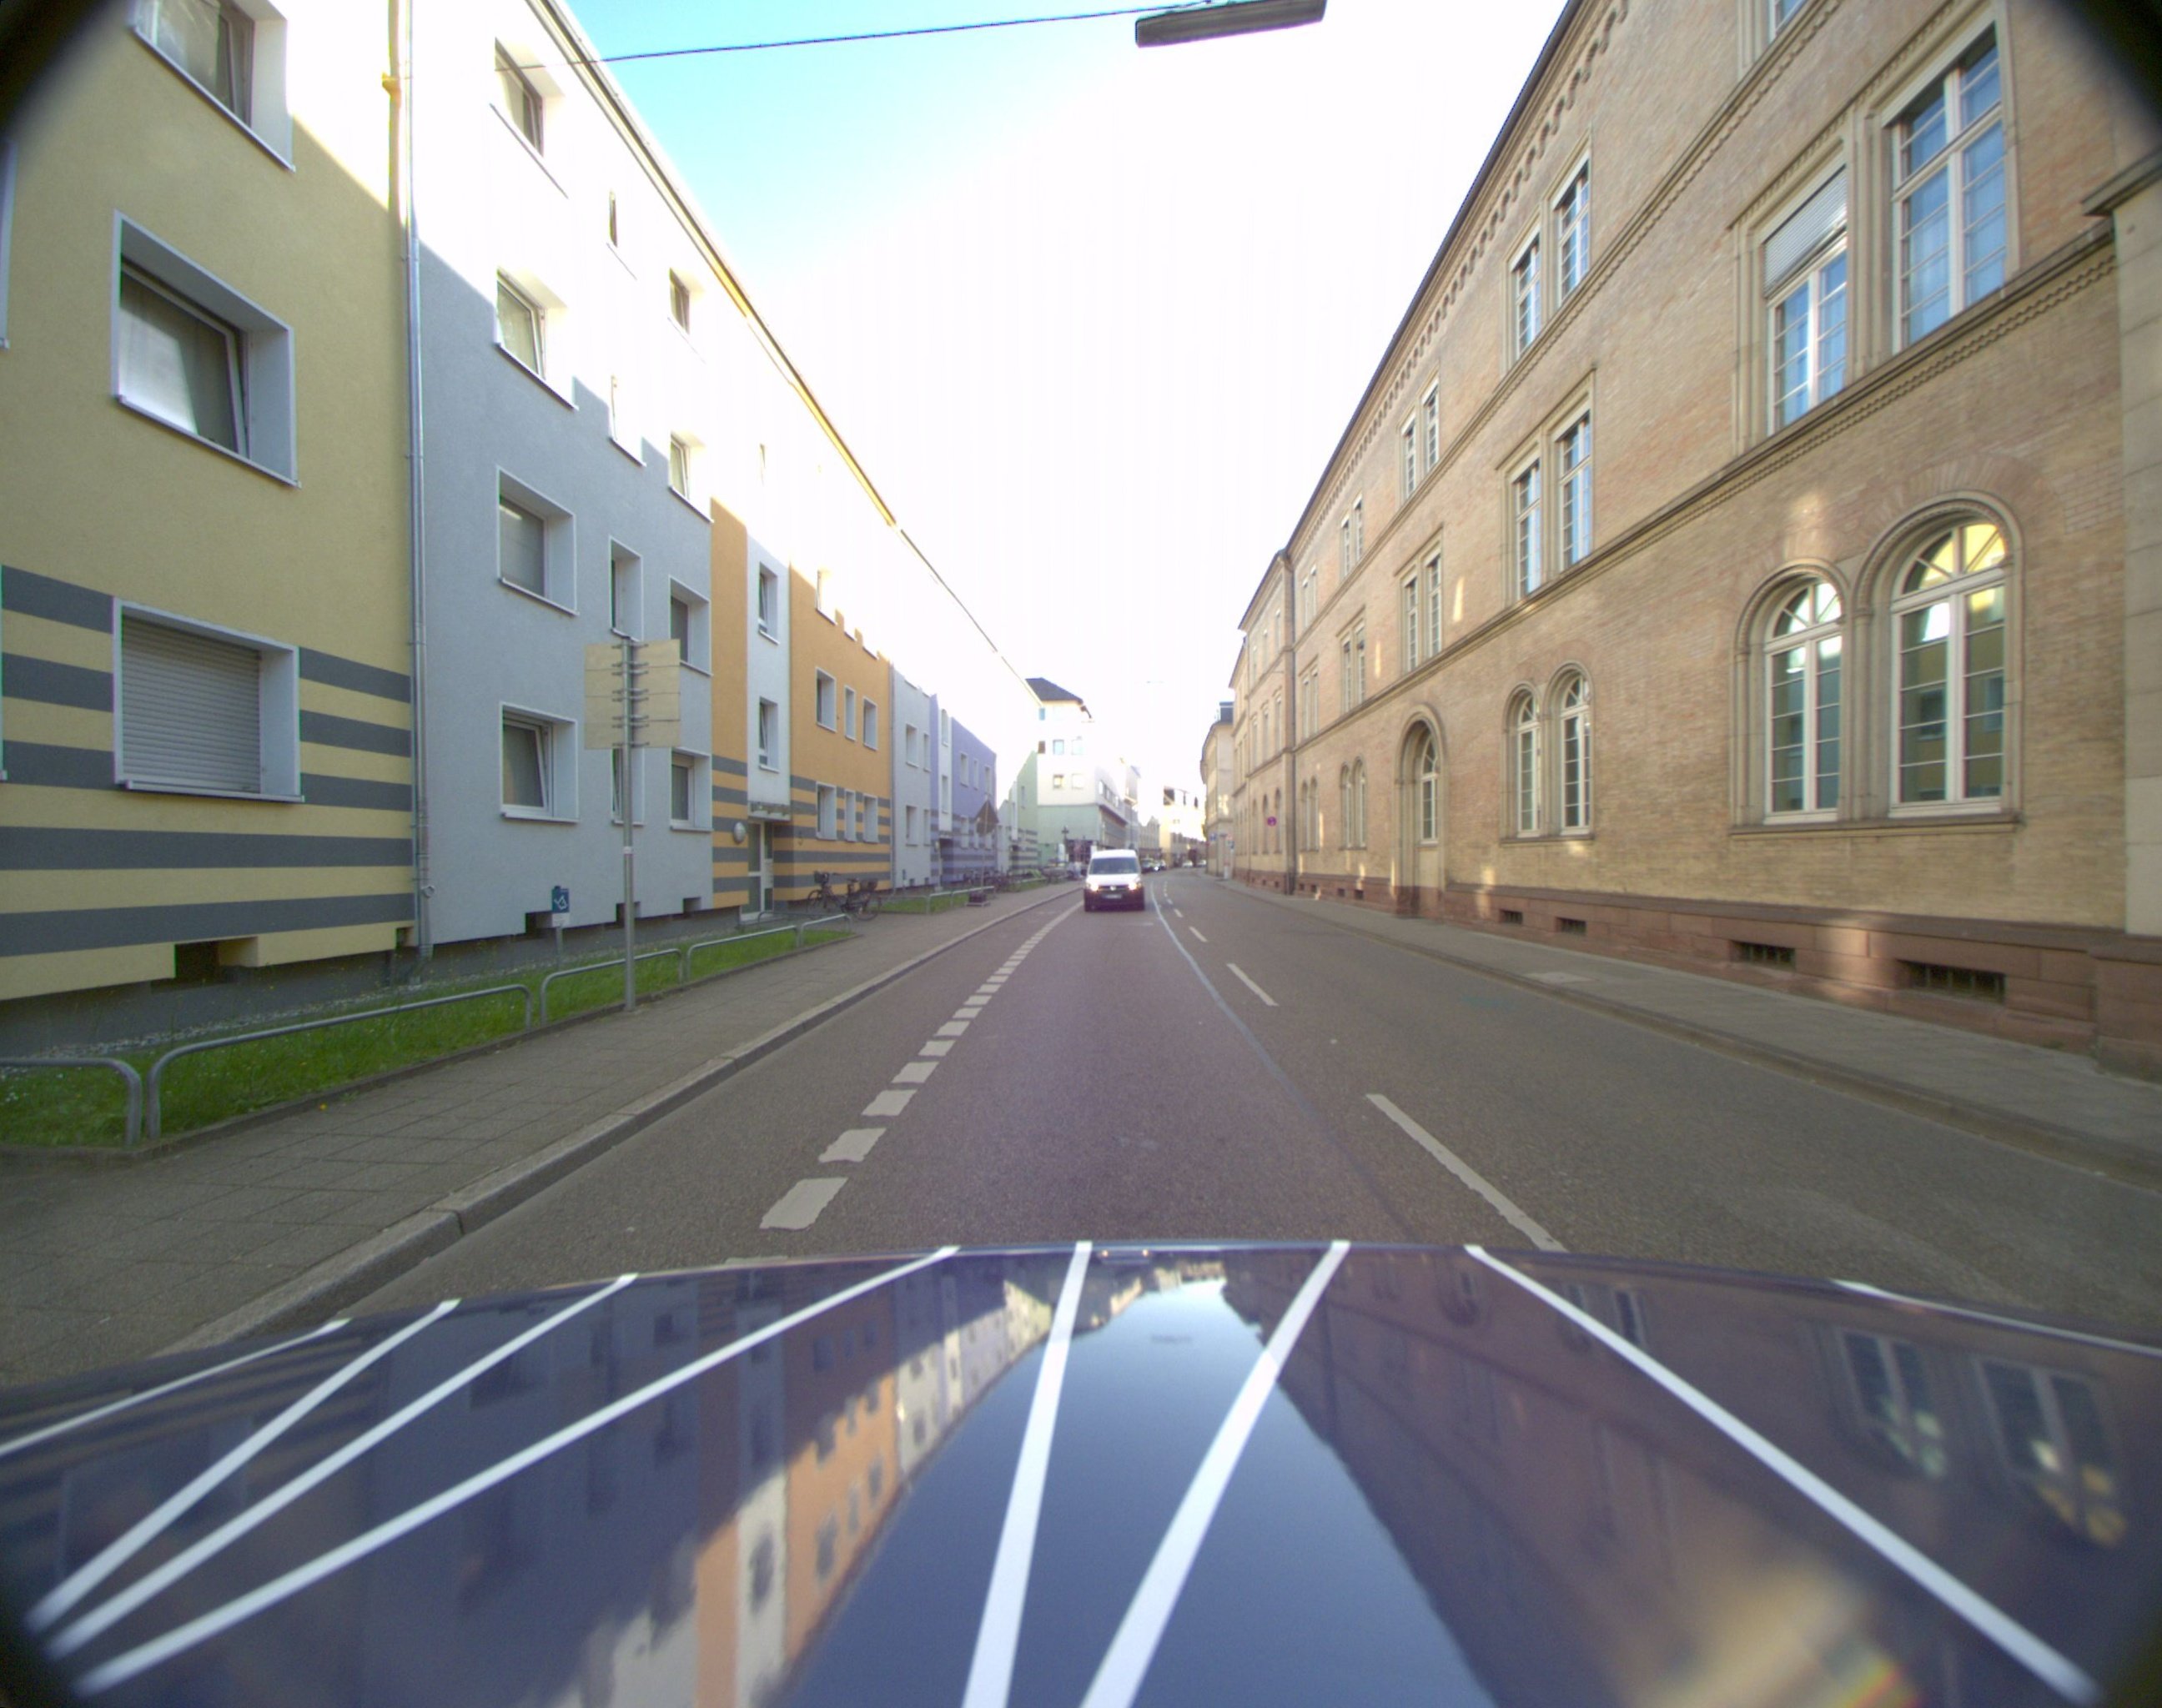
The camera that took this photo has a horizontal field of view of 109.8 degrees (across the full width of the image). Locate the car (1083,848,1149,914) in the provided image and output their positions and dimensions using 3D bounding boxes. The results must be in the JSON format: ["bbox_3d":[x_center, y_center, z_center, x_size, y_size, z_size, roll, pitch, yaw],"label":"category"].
[{"bbox_3d":[1.092,0.733,23.423,1.769,1.761,5.332,-1,1,3],"label":"car"}]

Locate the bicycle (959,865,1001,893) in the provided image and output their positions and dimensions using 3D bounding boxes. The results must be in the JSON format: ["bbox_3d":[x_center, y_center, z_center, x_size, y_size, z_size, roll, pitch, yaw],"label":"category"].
[{"bbox_3d":[-4.235,1.032,31.840,1.676,1.145,0.484,0,0,4],"label":"bicycle"}]

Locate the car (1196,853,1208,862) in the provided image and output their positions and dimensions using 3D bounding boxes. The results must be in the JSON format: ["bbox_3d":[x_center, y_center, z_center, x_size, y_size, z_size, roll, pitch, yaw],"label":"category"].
[{"bbox_3d":[26.093,0.742,163.752,1.996,1.643,4.233,-2,1,17],"label":"car"}]

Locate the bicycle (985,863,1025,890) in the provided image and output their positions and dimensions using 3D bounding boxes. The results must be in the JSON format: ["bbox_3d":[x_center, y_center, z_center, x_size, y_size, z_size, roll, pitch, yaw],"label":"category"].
[{"bbox_3d":[-3.372,0.988,33.679,1.676,1.145,0.484,0,0,4],"label":"bicycle"}]

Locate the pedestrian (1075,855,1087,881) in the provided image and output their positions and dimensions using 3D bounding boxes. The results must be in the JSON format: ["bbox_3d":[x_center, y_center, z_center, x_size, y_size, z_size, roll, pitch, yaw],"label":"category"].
[{"bbox_3d":[0.007,0.926,49.816,0.705,1.627,0.833,2,2,5],"label":"pedestrian"}]

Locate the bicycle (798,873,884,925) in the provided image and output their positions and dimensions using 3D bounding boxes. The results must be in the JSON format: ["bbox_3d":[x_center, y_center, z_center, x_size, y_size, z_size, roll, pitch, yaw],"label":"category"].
[{"bbox_3d":[-5.385,1.004,17.104,1.780,1.116,0.484,0,0,-5],"label":"bicycle"}]

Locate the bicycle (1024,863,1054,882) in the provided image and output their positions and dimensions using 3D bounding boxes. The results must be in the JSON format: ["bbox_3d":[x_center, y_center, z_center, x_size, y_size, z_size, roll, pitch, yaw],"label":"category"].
[{"bbox_3d":[-2.515,1.134,46.051,1.779,1.145,0.484,0,0,0],"label":"bicycle"}]

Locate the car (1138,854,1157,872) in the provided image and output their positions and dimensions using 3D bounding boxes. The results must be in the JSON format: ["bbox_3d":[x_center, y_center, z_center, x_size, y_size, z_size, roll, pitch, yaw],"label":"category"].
[{"bbox_3d":[9.414,1.204,107.088,2.103,2.264,5.506,-2,1,11],"label":"car"}]

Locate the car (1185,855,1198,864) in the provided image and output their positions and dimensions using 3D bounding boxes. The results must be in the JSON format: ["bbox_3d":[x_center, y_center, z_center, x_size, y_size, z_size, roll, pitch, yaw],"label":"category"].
[{"bbox_3d":[22.110,1.031,152.021,1.996,1.643,4.233,-2,1,17],"label":"car"}]

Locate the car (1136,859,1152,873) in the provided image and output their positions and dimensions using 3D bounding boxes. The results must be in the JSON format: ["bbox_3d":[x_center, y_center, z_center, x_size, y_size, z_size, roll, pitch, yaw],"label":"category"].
[{"bbox_3d":[8.379,1.564,100.952,1.998,1.643,4.230,-2,1,6],"label":"car"}]

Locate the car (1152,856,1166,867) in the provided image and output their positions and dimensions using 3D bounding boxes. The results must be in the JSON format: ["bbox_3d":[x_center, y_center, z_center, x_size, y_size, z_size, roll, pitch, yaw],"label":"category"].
[{"bbox_3d":[12.648,1.148,122.699,1.997,1.643,4.231,-2,1,9],"label":"car"}]

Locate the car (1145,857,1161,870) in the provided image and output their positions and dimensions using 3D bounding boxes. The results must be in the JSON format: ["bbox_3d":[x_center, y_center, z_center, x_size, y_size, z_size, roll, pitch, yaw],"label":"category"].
[{"bbox_3d":[10.678,1.394,113.000,1.997,1.643,4.231,-2,1,10],"label":"car"}]

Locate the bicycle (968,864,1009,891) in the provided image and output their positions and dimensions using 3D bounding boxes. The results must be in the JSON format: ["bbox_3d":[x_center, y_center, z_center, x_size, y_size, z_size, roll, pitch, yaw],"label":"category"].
[{"bbox_3d":[-4.031,1.005,33.134,1.676,1.145,0.484,0,0,4],"label":"bicycle"}]
